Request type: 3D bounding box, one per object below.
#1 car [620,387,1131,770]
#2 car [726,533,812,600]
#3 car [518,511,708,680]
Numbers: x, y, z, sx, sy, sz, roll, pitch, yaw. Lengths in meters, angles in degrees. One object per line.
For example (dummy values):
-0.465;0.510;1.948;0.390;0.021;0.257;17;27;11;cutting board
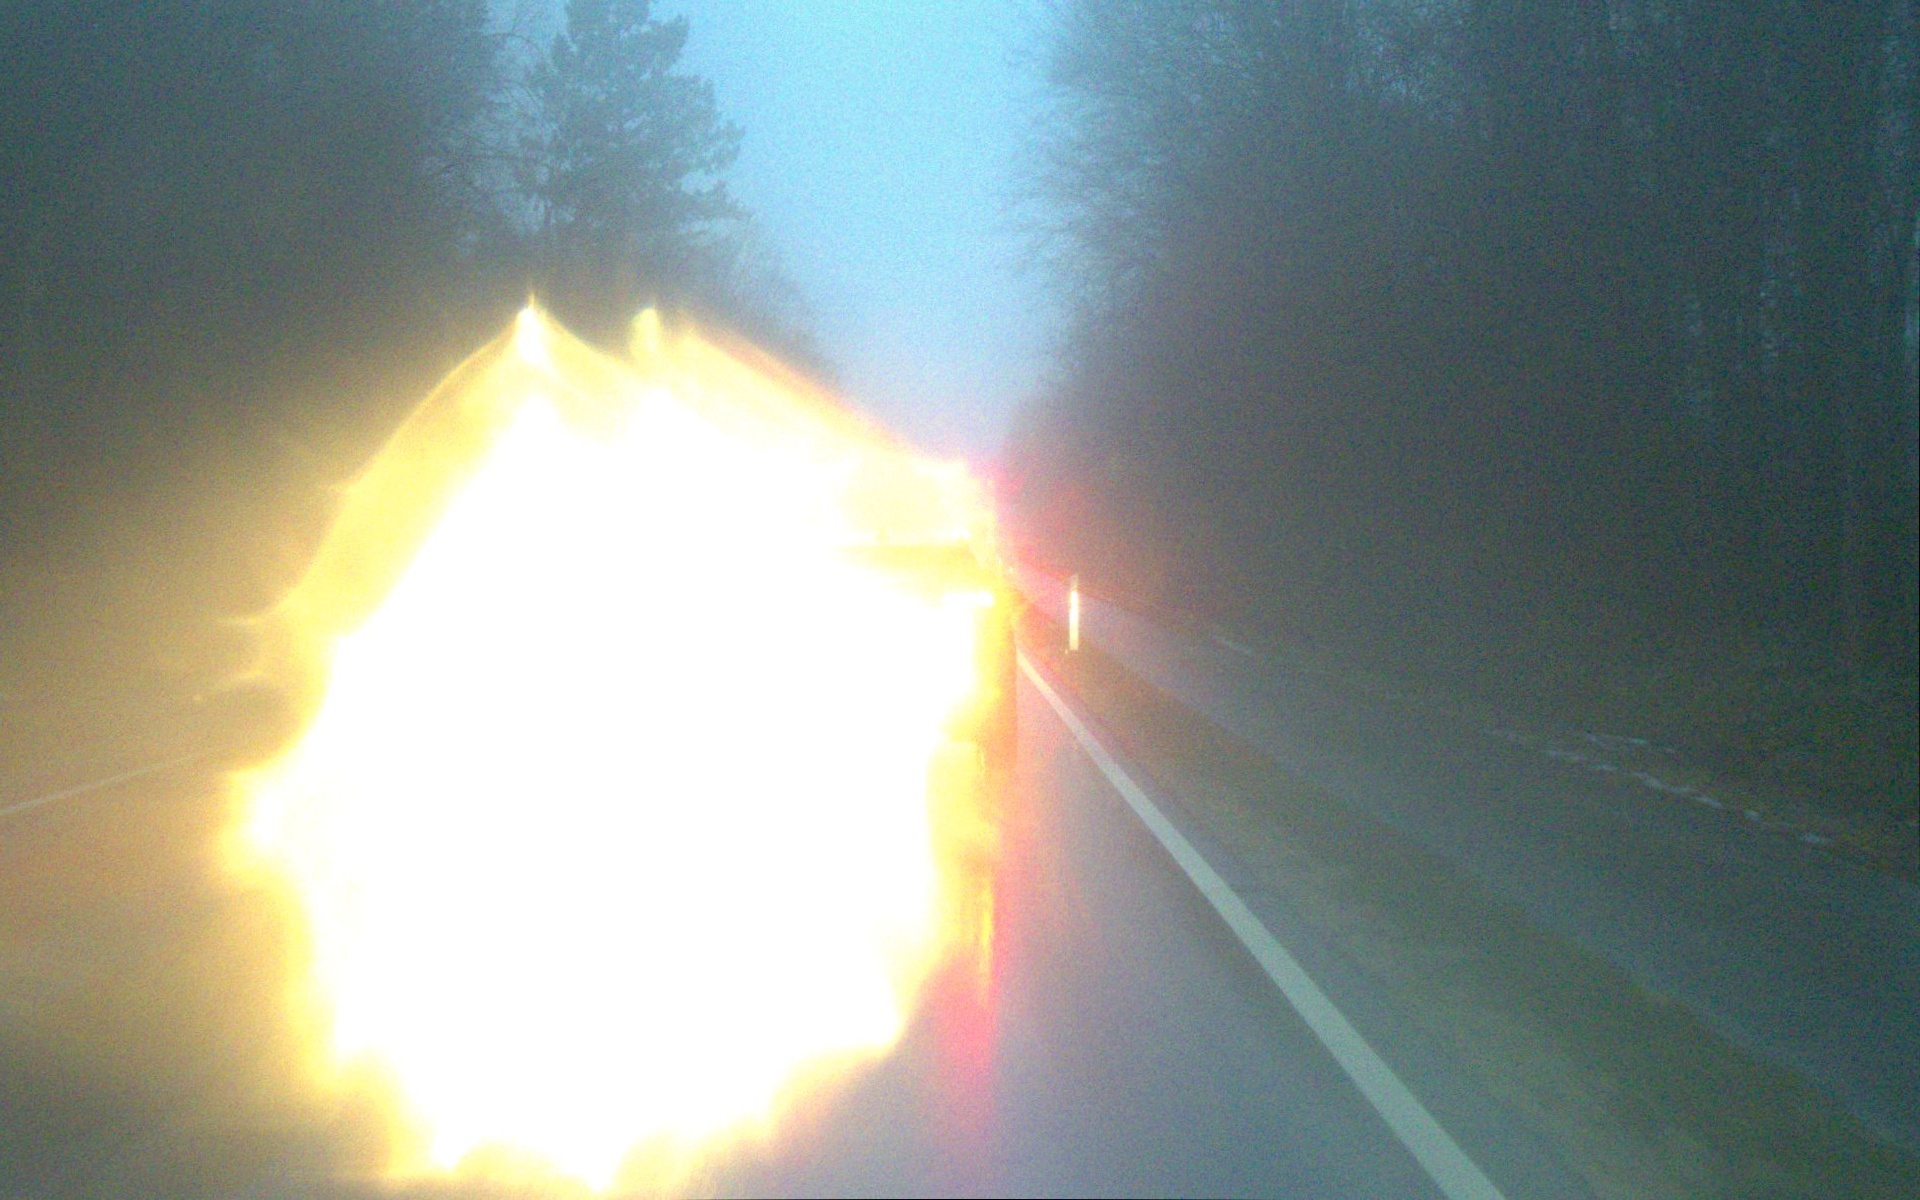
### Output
-0.530;-0.193;24.852;3.183;2.378;6.636;0;1;0;car
-4.416;-0.790;79.853;1.754;1.453;3.637;-2;1;0;car
-4.427;-0.105;44.543;2.006;1.982;5.032;-2;1;-2;car
